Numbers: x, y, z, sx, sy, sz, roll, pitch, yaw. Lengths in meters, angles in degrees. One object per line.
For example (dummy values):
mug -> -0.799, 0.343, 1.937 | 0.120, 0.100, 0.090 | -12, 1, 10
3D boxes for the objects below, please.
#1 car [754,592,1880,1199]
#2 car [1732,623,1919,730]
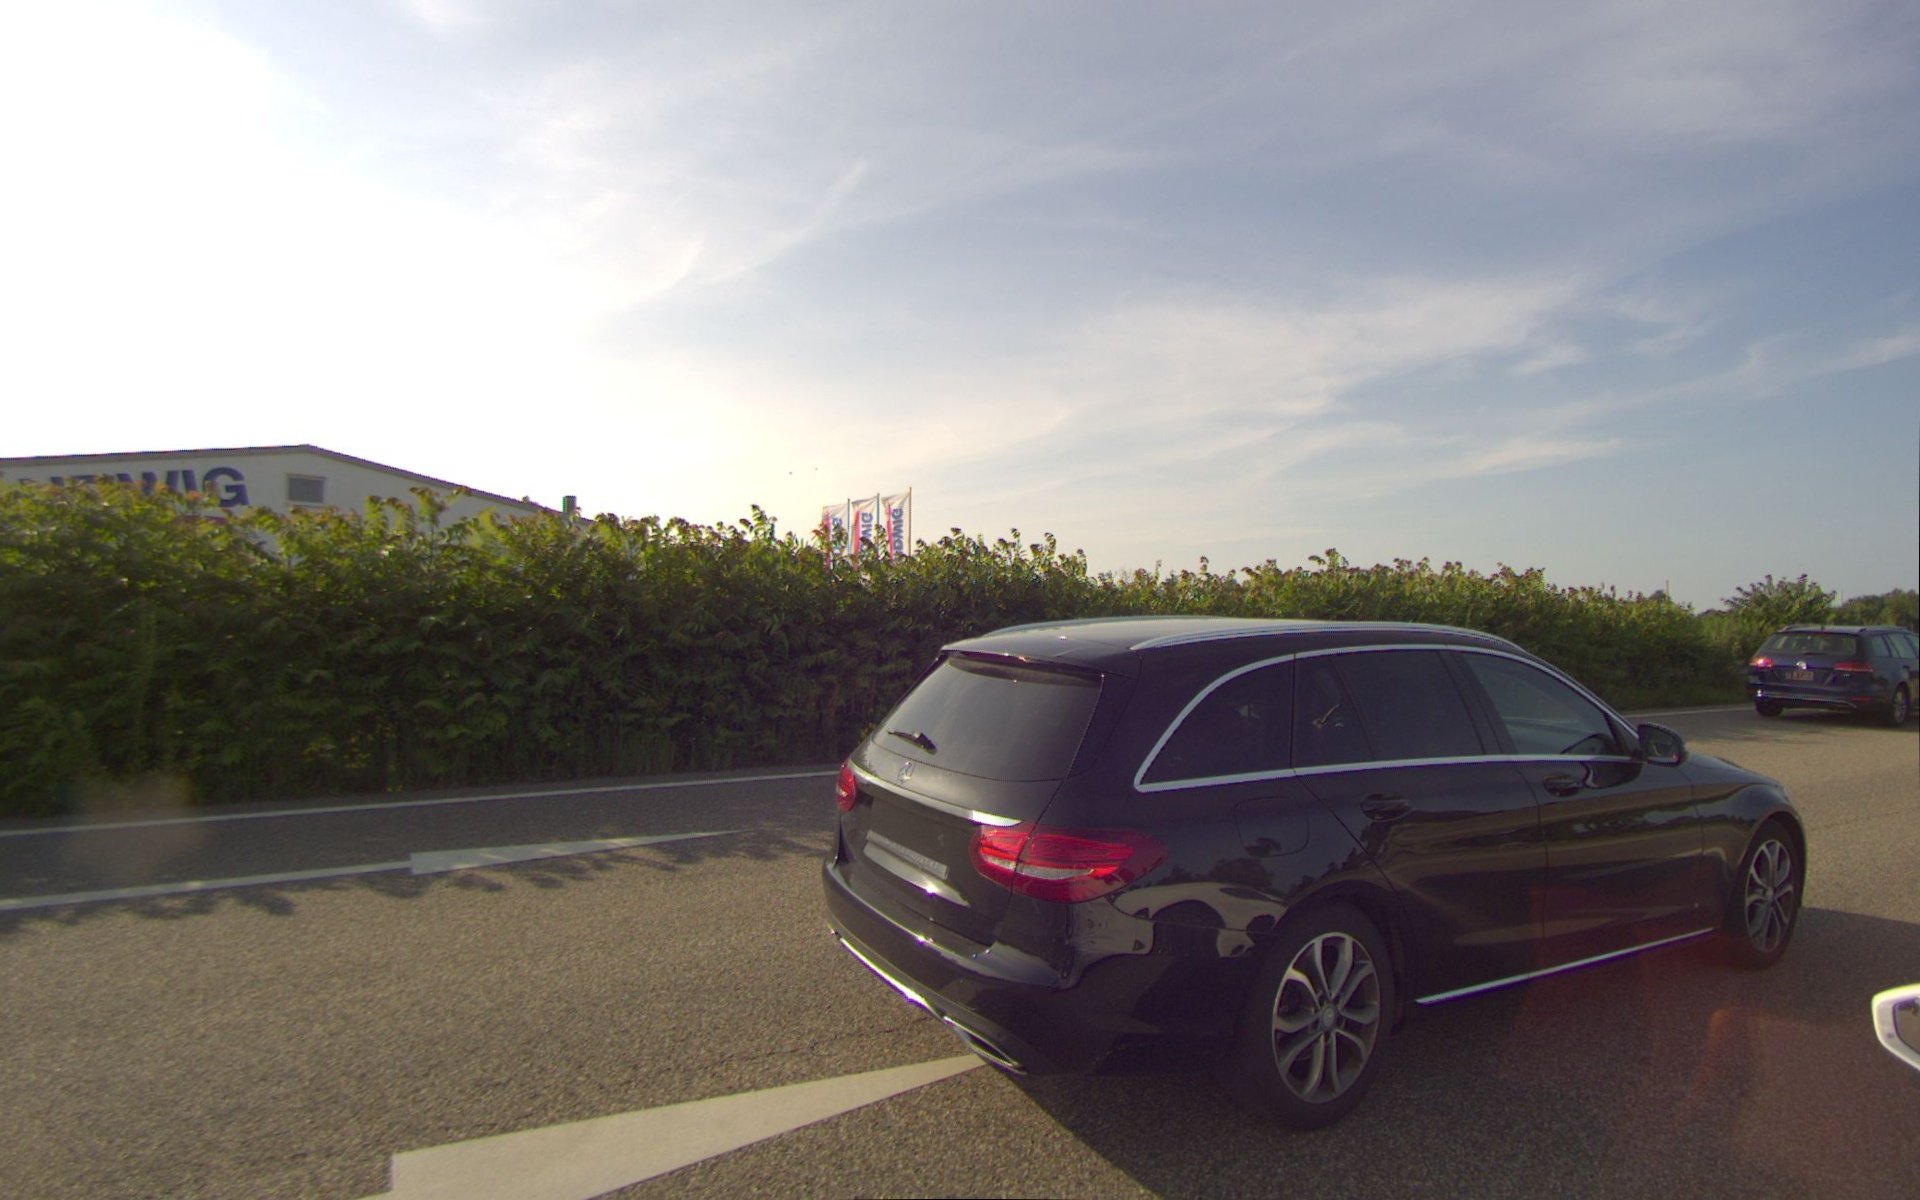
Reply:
car -> 1.799, 0.788, 4.152 | 4.963, 1.490, 1.565 | 1, -1, -30
car -> 14.368, 1.138, 16.001 | 4.720, 1.490, 1.638 | 1, -1, -30
